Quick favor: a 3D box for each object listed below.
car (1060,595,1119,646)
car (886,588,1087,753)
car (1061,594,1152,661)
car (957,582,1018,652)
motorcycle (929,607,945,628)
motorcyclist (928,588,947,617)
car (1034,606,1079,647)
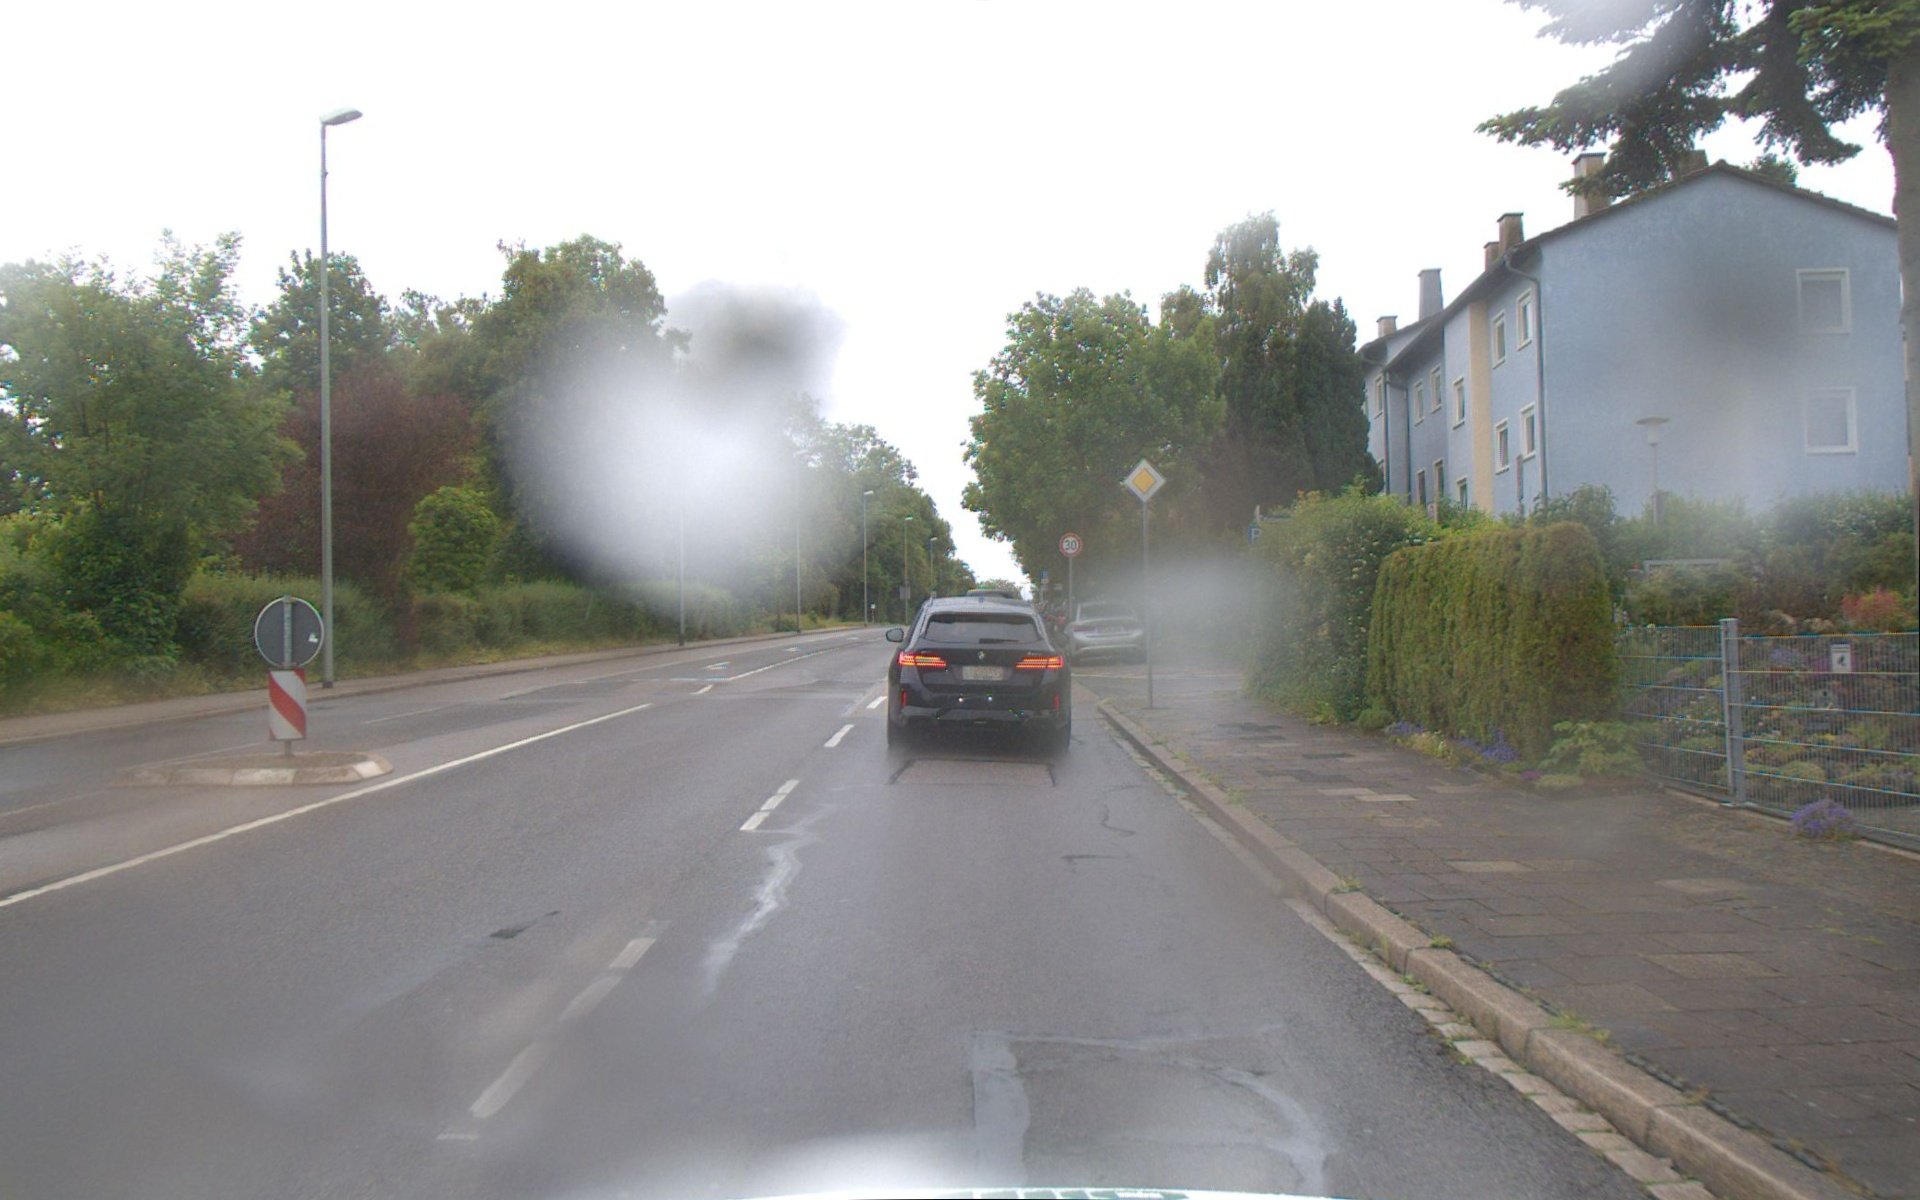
[{"bbox_3d":[3.996,0.618,51.483,1.557,1.486,3.562,-1,0,1],"label":"car"},{"bbox_3d":[0.277,0.658,17.620,1.858,1.515,4.000,1,0,1],"label":"car"},{"bbox_3d":[3.396,0.607,39.034,1.895,1.467,4.409,0,0,2],"label":"car"},{"bbox_3d":[0.752,0.448,47.287,1.596,1.865,4.000,-1,1,0],"label":"car"},{"bbox_3d":[-1.267,0.973,92.436,0.858,1.144,2.741,1,0,0],"label":"motorcycle"},{"bbox_3d":[-1.249,0.150,92.471,1.018,1.595,0.855,1,0,-1],"label":"motorcyclist"},{"bbox_3d":[3.773,1.012,64.893,1.557,1.512,3.562,-1,0,1],"label":"car"}]
